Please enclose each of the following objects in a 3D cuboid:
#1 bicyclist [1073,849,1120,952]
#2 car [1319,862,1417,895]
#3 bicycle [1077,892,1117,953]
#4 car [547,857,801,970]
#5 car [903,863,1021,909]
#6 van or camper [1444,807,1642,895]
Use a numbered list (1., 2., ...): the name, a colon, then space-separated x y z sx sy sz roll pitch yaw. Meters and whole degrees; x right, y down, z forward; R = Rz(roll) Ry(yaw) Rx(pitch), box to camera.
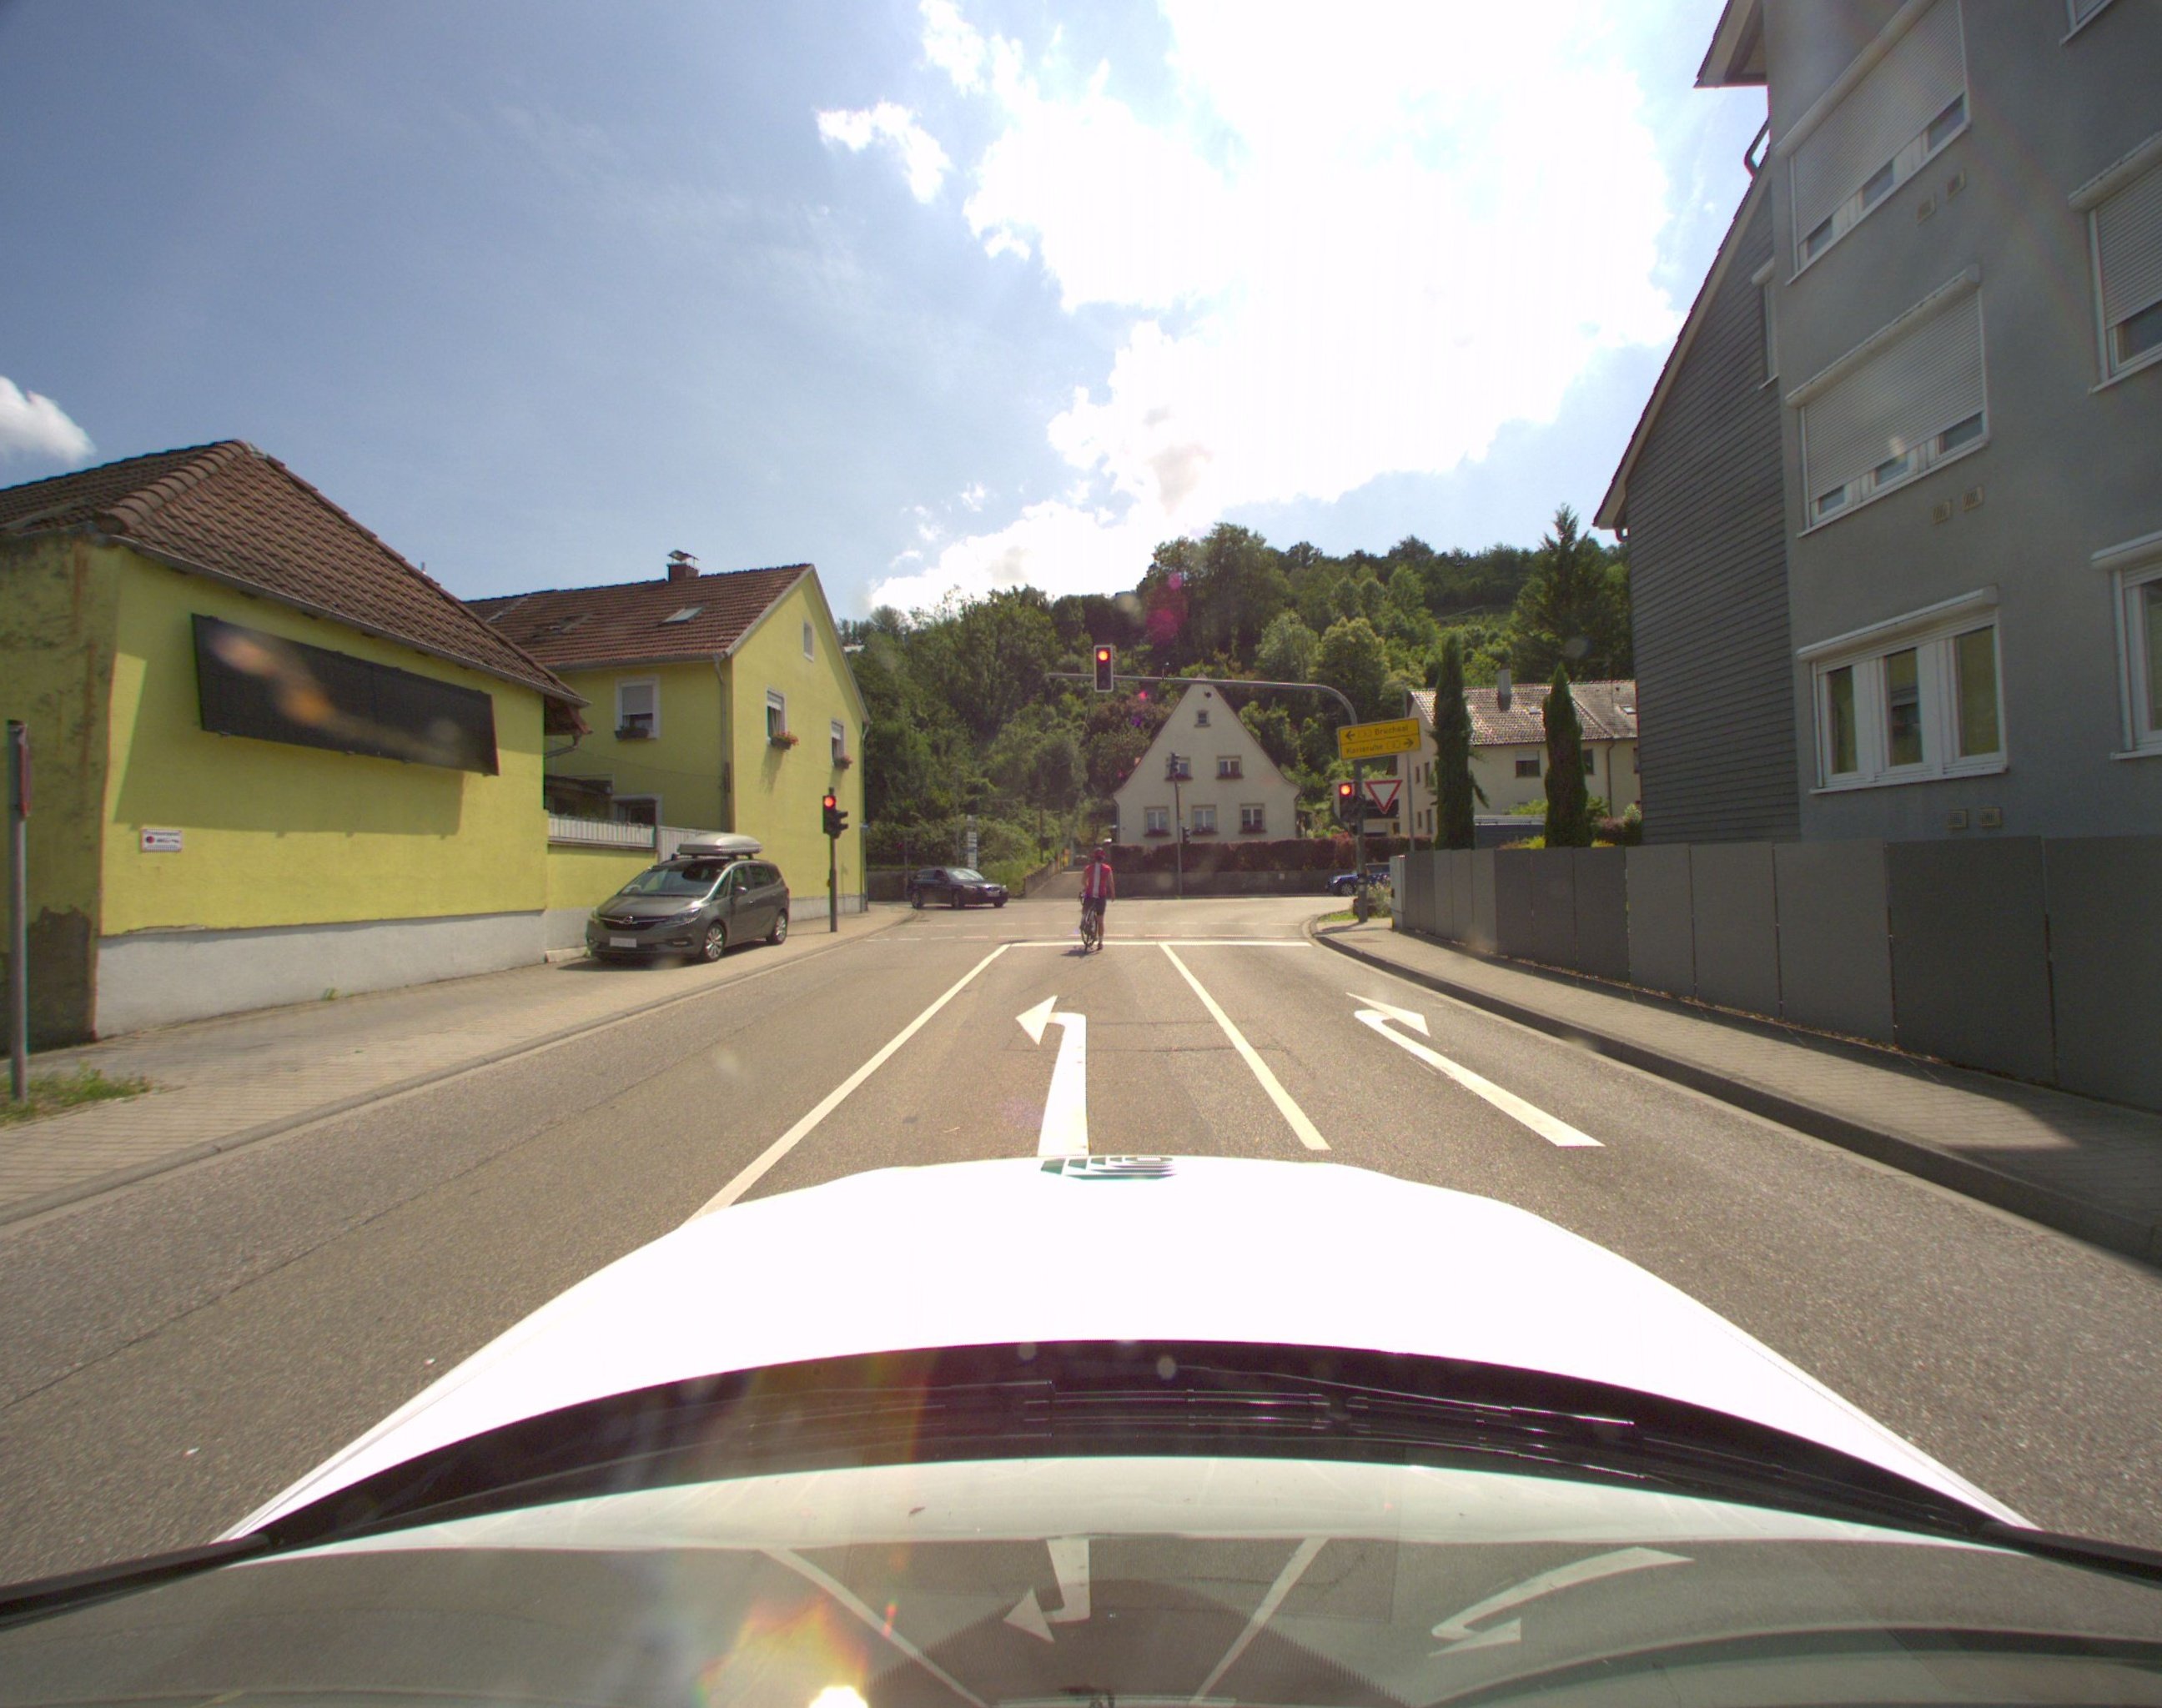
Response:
1. bicyclist: 0.263 0.754 13.633 0.758 1.664 0.869 0 -1 1
2. car: 12.112 1.059 34.557 3.591 1.363 1.646 -1 -4 5
3. bicycle: 0.275 1.118 13.623 0.627 0.905 1.657 0 -1 1
4. car: -6.697 0.892 14.129 1.987 1.635 4.630 0 -1 1
5. car: -4.270 1.138 28.751 1.880 1.442 4.615 -2 -1 -41
6. van or camper: 17.002 -0.075 30.290 5.958 3.005 2.223 -1 -1 8
